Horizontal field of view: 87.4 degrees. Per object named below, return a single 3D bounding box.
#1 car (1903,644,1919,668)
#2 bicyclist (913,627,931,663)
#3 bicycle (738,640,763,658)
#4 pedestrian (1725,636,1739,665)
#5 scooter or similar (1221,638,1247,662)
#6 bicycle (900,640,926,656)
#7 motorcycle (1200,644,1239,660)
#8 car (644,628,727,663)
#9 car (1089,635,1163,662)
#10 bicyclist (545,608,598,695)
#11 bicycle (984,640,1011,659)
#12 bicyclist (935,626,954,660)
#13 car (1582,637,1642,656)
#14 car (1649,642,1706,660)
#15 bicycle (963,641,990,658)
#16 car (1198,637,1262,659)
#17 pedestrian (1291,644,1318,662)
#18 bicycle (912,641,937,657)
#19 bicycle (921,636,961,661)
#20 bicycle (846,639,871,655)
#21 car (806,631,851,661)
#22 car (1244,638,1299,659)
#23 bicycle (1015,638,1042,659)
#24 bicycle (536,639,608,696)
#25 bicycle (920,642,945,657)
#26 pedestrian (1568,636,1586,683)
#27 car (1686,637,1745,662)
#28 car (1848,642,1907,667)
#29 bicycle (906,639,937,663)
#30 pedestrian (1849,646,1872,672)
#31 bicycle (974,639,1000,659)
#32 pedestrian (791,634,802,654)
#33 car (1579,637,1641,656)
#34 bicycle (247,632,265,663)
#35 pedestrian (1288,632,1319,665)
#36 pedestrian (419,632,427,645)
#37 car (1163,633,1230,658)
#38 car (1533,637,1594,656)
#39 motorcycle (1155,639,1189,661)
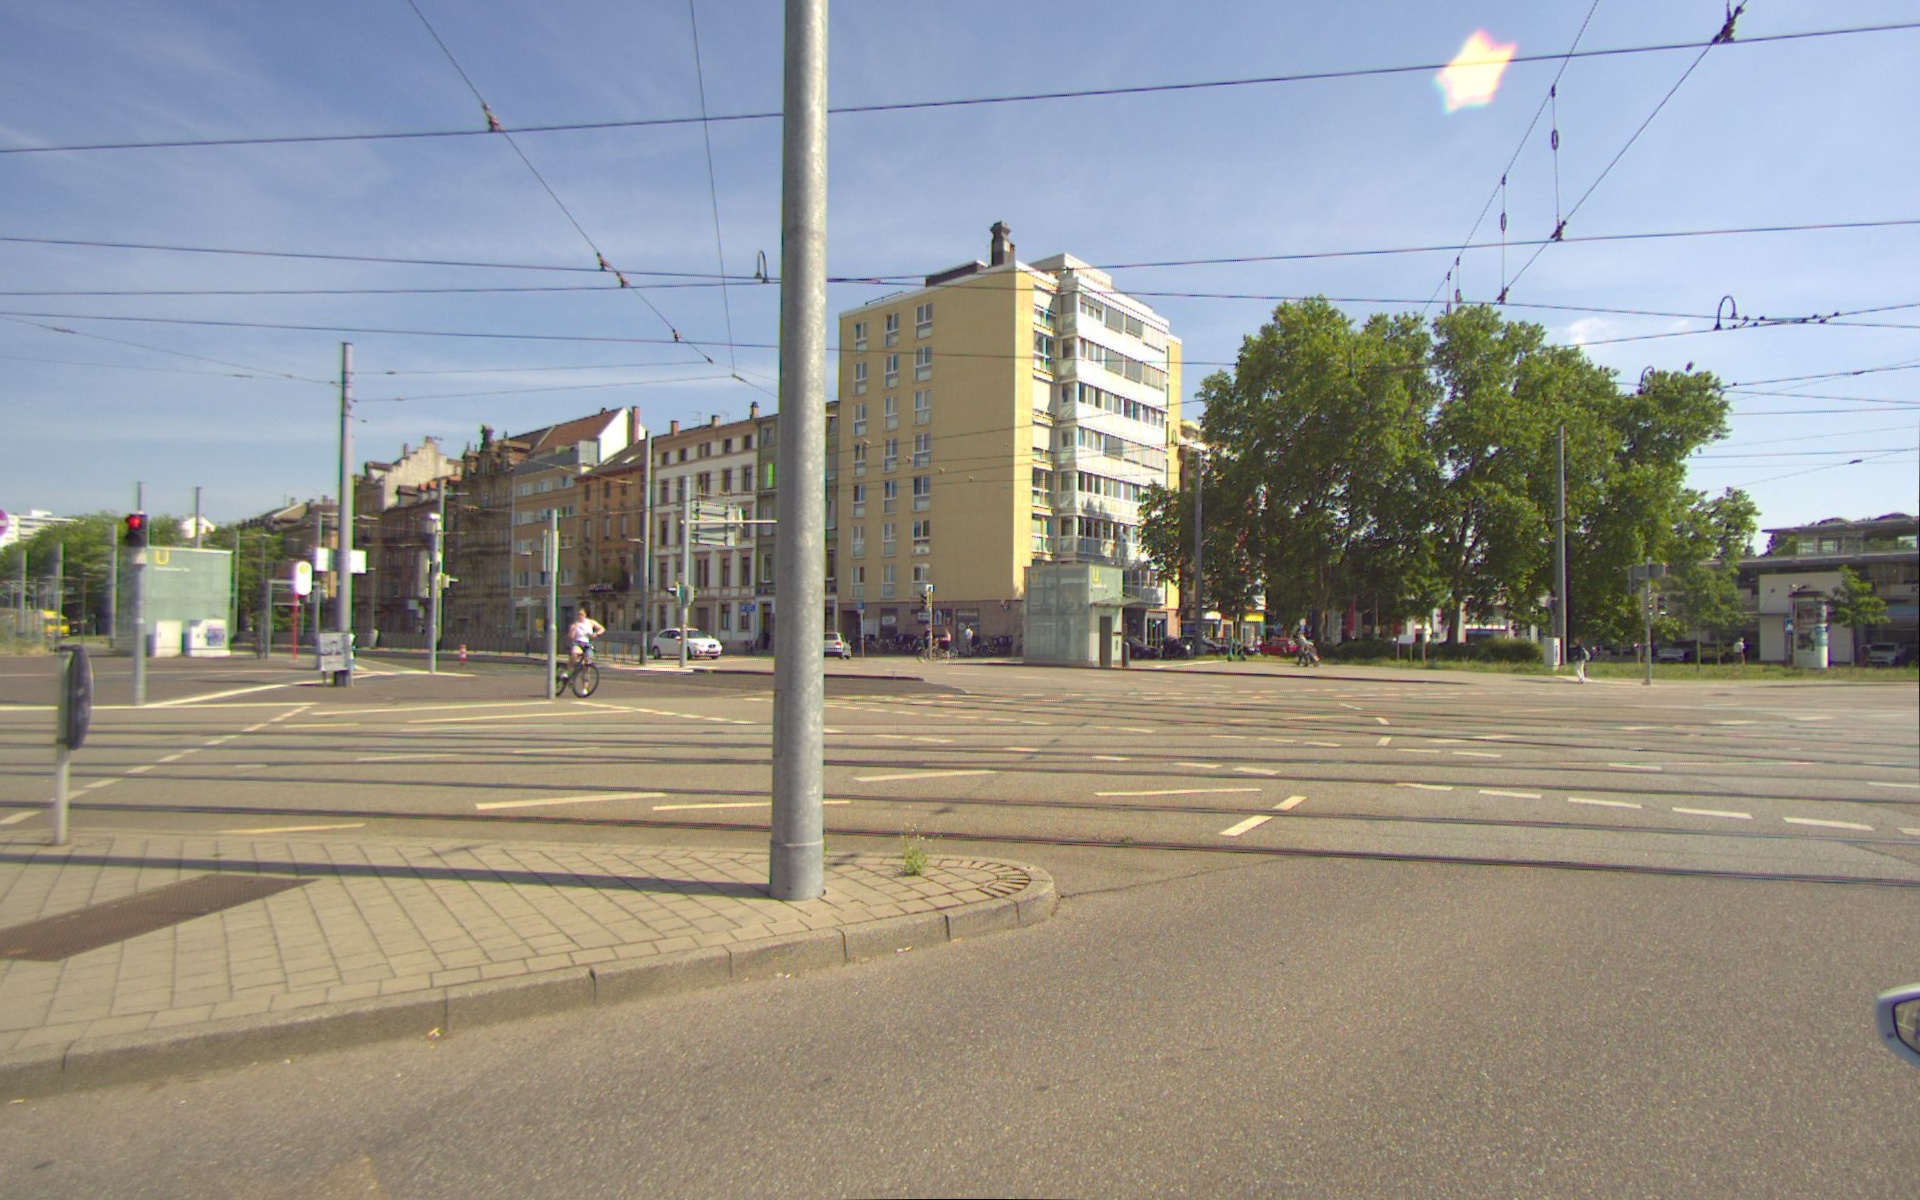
[{"bbox_3d":[62.431,3.632,64.396,3.958,1.506,1.981,2,-1,-34],"label":"car"},{"bbox_3d":[-1.824,2.178,48.525,0.574,1.757,0.616,-1,-3,35],"label":"bicyclist"},{"bbox_3d":[-13.344,3.104,63.821,1.793,1.109,0.581,-2,-1,41],"label":"bicycle"},{"bbox_3d":[42.744,2.789,55.607,0.455,1.617,0.393,2,0,-8],"label":"pedestrian"},{"bbox_3d":[13.177,2.389,48.354,0.509,1.134,1.357,1,-2,-21],"label":"scooter or similar"},{"bbox_3d":[-2.950,3.012,63.249,1.731,0.928,0.581,-2,-2,42],"label":"bicycle"},{"bbox_3d":[14.165,2.814,54.819,1.997,0.853,0.641,0,-2,2],"label":"motorcycle"},{"bbox_3d":[-12.745,2.071,46.498,4.064,1.417,1.751,-1,1,41],"label":"car"},{"bbox_3d":[9.833,2.866,59.673,4.034,1.489,1.651,-1,-5,42],"label":"car"},{"bbox_3d":[-7.839,1.049,20.272,0.746,1.706,0.767,2,-4,-43],"label":"bicyclist"},{"bbox_3d":[2.188,2.873,58.611,0.580,1.056,1.735,1,-2,-42],"label":"bicycle"},{"bbox_3d":[-0.754,2.046,47.412,0.606,1.593,0.727,2,-3,-31],"label":"bicyclist"},{"bbox_3d":[56.748,4.032,87.518,1.979,1.528,3.964,2,-2,-33],"label":"car"},{"bbox_3d":[55.219,3.929,77.276,3.949,1.260,1.986,2,-1,-27],"label":"car"},{"bbox_3d":[0.954,2.943,59.706,0.580,0.978,1.734,1,-2,-43],"label":"bicycle"},{"bbox_3d":[19.016,3.362,70.836,3.942,1.287,1.734,2,-1,42],"label":"car"},{"bbox_3d":[18.208,2.799,53.130,1.158,0.904,0.819,-1,-2,39],"label":"pedestrian"},{"bbox_3d":[-2.209,3.028,61.947,0.579,0.928,1.736,1,-2,-41],"label":"bicycle"},{"bbox_3d":[-0.902,2.275,47.356,1.777,1.145,0.748,2,-2,-32],"label":"bicycle"},{"bbox_3d":[-6.722,3.118,66.518,1.754,0.977,0.581,-2,0,40],"label":"bicycle"},{"bbox_3d":[-7.177,2.557,55.118,1.777,1.458,4.003,2,-4,2],"label":"car"},{"bbox_3d":[23.915,3.724,77.130,3.681,1.358,1.734,2,-1,42],"label":"car"},{"bbox_3d":[4.025,2.851,59.241,0.534,1.201,1.879,-1,-2,43],"label":"bicycle"},{"bbox_3d":[-7.844,1.365,20.278,0.746,1.098,1.826,3,-4,-42],"label":"bicycle"},{"bbox_3d":[-1.708,3.052,62.198,0.579,0.928,1.736,1,-2,-41],"label":"bicycle"},{"bbox_3d":[21.886,2.106,35.634,0.445,1.626,0.400,2,0,22],"label":"pedestrian"},{"bbox_3d":[56.764,3.750,75.476,3.949,1.706,1.986,3,-1,-27],"label":"car"},{"bbox_3d":[61.027,3.638,66.784,3.958,1.506,1.981,2,-1,-34],"label":"car"},{"bbox_3d":[-1.855,2.492,48.690,0.574,1.145,1.792,-1,-3,34],"label":"bicycle"},{"bbox_3d":[57.395,3.744,64.025,0.529,1.601,0.947,2,0,-35],"label":"pedestrian"},{"bbox_3d":[1.570,2.857,58.362,0.578,1.100,1.739,-2,0,-36],"label":"bicycle"},{"bbox_3d":[-11.590,3.102,71.171,0.637,1.392,0.524,-1,-2,41],"label":"pedestrian"},{"bbox_3d":[55.083,3.933,85.163,1.979,1.572,3.964,2,-2,-33],"label":"car"},{"bbox_3d":[-26.748,1.787,38.185,0.409,1.085,1.650,1,0,-30],"label":"bicycle"},{"bbox_3d":[15.215,2.146,44.522,1.099,1.422,0.654,2,0,37],"label":"pedestrian"},{"bbox_3d":[-58.312,4.190,109.129,0.483,1.425,0.532,2,0,35],"label":"pedestrian"},{"bbox_3d":[15.885,3.028,67.610,3.942,1.459,1.881,2,-1,42],"label":"car"},{"bbox_3d":[51.366,3.956,85.501,1.978,1.389,3.965,2,-1,-32],"label":"car"},{"bbox_3d":[10.767,2.518,51.115,0.632,1.076,2.026,1,-2,-24],"label":"motorcycle"}]
